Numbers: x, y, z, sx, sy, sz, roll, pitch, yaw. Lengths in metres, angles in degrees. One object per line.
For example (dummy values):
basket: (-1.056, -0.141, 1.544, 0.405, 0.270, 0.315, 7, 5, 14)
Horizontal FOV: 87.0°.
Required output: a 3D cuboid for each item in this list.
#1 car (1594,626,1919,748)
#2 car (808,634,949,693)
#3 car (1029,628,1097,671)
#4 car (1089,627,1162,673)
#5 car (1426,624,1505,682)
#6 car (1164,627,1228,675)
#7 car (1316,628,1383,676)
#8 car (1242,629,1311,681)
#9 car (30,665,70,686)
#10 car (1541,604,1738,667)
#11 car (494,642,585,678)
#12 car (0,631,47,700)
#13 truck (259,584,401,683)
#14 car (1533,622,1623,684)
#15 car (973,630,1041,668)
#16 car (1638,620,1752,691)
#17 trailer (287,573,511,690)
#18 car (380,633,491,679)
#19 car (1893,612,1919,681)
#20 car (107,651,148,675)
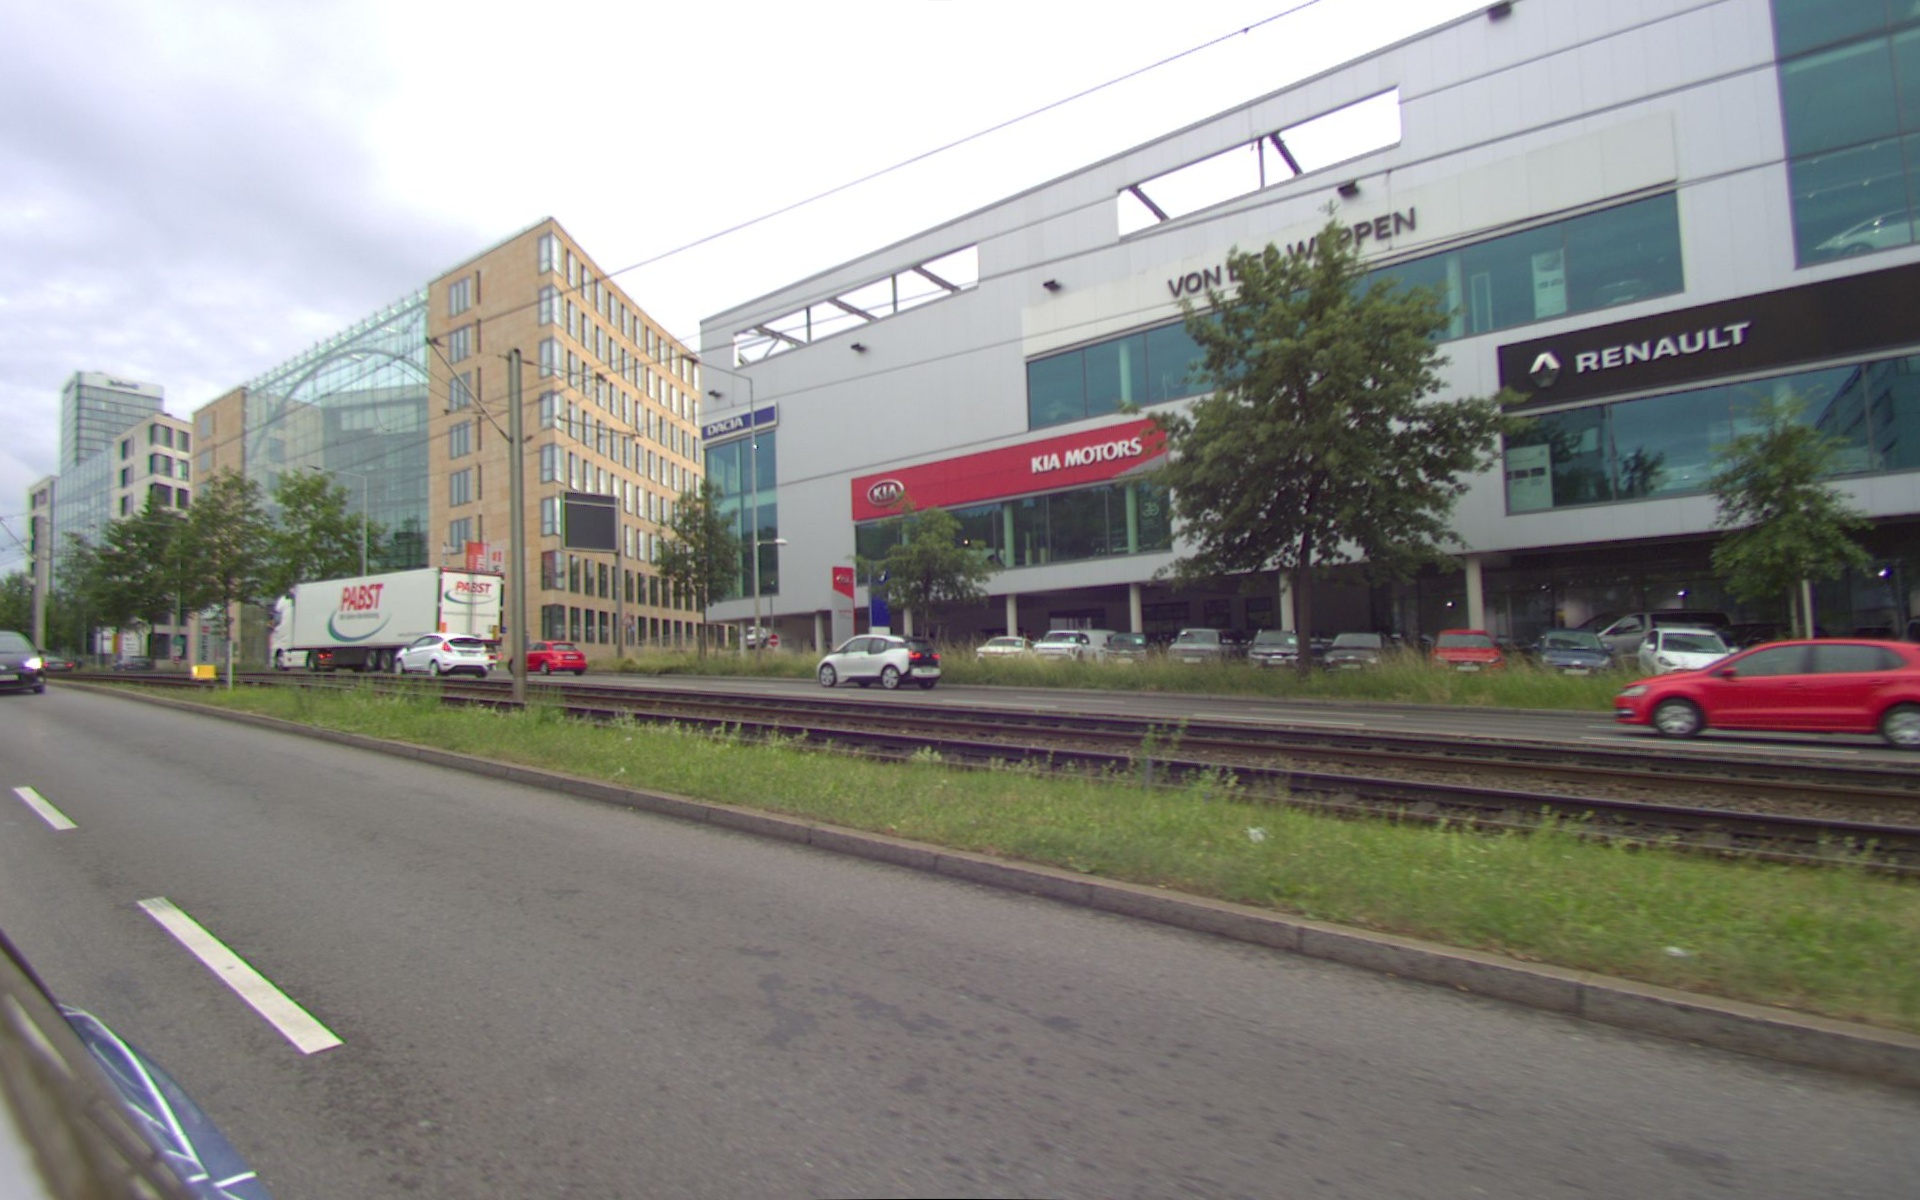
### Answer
car: (11.381, 1.160, 14.140, 4.098, 1.524, 1.568, -2, -4, 40)
car: (-2.434, 1.816, 29.718, 4.094, 1.593, 1.667, -2, -2, 39)
car: (3.844, 1.786, 37.364, 1.685, 1.304, 3.642, -2, 1, 19)
car: (5.836, 1.716, 35.417, 1.688, 1.362, 3.499, -2, 1, 23)
car: (14.312, 1.464, 28.797, 1.789, 1.362, 3.903, -2, 1, 24)
car: (7.976, 1.684, 34.034, 1.686, 1.362, 3.502, -2, 1, 20)
car: (11.832, 1.548, 30.661, 1.689, 1.190, 3.497, -2, 1, 24)
car: (10.096, 1.712, 32.135, 1.689, 1.362, 3.497, -2, 1, 24)
car: (-69.890, 5.751, 77.712, 4.094, 1.447, 1.667, -2, -2, 39)
car: (20.543, 1.075, 30.767, 4.489, 1.796, 1.997, -1, -2, 5)
car: (-17.282, 2.444, 41.567, 4.018, 1.380, 1.668, -2, -2, 37)
car: (-23.092, 1.532, 23.991, 3.824, 1.544, 1.682, -2, -2, 40)
truck: (-29.283, 1.628, 46.932, 7.016, 4.276, 3.106, -2, -5, 37)
car: (16.636, 1.372, 27.342, 1.915, 1.362, 4.004, -2, 1, 31)
car: (1.867, 1.870, 39.056, 1.685, 1.196, 3.642, -2, 1, 19)
car: (18.497, 1.335, 25.631, 1.915, 1.470, 4.004, -2, 1, 31)
trailer: (-24.217, 1.443, 43.148, 13.258, 4.363, 3.105, -2, -5, 37)
car: (-17.408, 1.847, 33.523, 4.093, 1.447, 1.668, -2, -4, 38)
car: (22.377, 1.064, 22.226, 1.925, 1.470, 3.980, -2, 1, 31)
car: (-62.105, 4.690, 75.487, 3.996, 1.630, 1.610, -2, -2, 40)
